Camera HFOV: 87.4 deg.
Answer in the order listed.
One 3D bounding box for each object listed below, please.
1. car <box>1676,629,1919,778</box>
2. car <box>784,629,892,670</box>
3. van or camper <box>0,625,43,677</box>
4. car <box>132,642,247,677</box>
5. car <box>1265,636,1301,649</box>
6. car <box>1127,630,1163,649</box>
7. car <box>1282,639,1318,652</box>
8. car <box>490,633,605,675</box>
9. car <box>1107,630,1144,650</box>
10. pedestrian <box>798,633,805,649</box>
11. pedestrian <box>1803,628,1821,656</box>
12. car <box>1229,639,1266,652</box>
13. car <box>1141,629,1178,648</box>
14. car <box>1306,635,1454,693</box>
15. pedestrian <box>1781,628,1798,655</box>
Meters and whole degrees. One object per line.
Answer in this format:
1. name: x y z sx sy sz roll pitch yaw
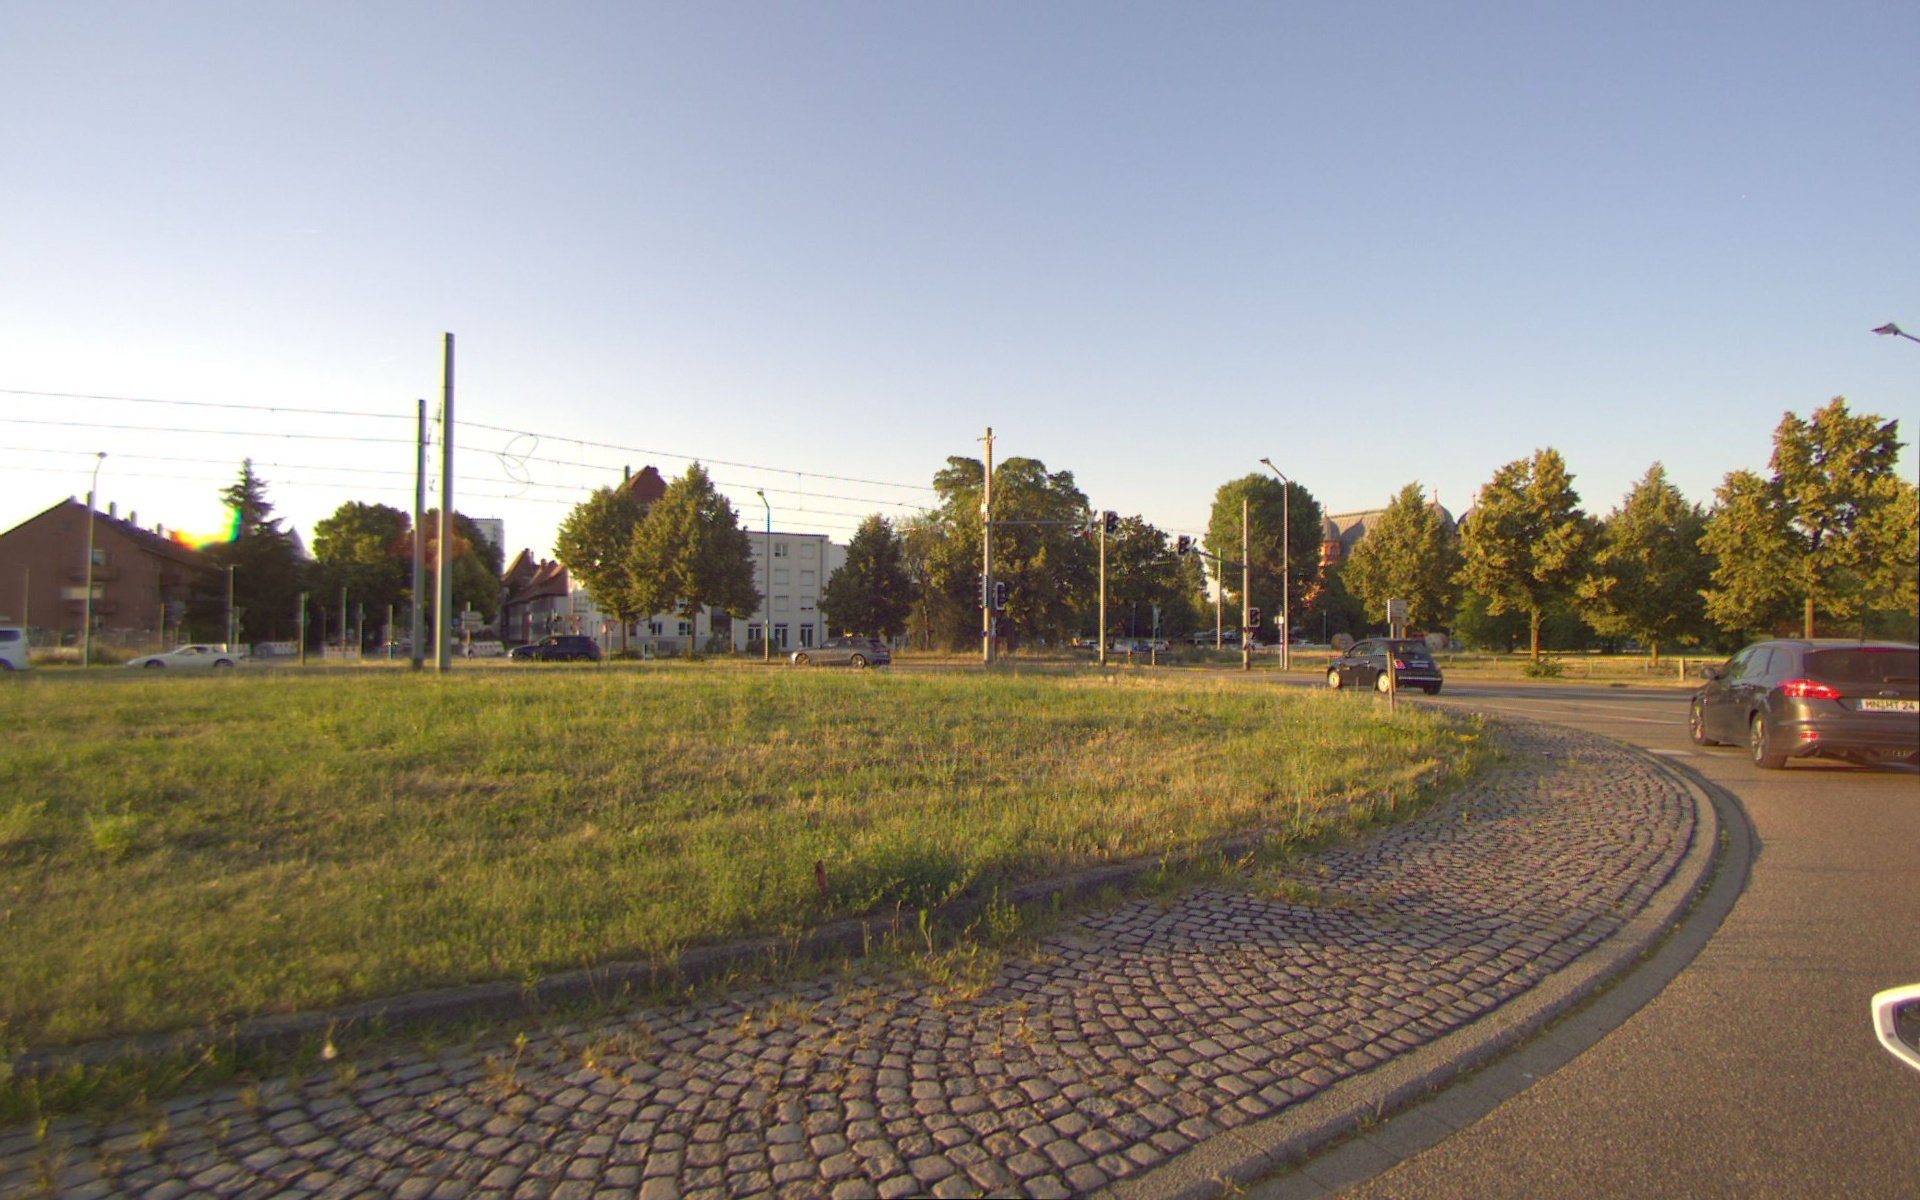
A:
1. car: 10.232 1.104 12.132 1.718 1.486 4.133 -1 -2 23
2. car: -5.489 2.214 45.345 4.505 1.771 1.752 -1 -2 16
3. van or camper: -39.444 2.052 39.141 1.886 2.036 5.280 -2 -2 38
4. car: -32.293 2.476 42.149 3.752 1.272 1.560 0 0 -42
5. car: 40.053 5.233 124.591 1.977 1.571 3.967 1 -2 -31
6. car: 20.870 4.436 113.325 1.977 2.126 3.968 1 -2 -30
7. car: 42.500 5.630 125.785 1.977 1.571 3.967 1 -2 -31
8. car: -18.277 2.363 44.699 4.518 1.771 1.747 0 -2 -13
9. car: 18.390 4.421 111.872 1.977 2.126 3.968 1 -2 -30
10. pedestrian: -13.942 3.598 88.215 0.542 1.392 0.355 1 -2 -35
11. pedestrian: 50.554 2.477 59.578 0.608 1.648 0.531 0 -1 5
12. car: 34.720 5.495 121.388 1.977 1.571 3.967 1 -2 -31
13. car: 22.796 4.330 114.811 1.977 2.126 3.968 1 -2 -30
14. car: 11.583 1.723 28.011 1.721 1.465 4.125 0 -2 -13
15. pedestrian: 50.338 2.502 60.946 0.569 1.648 0.533 0 -1 13
